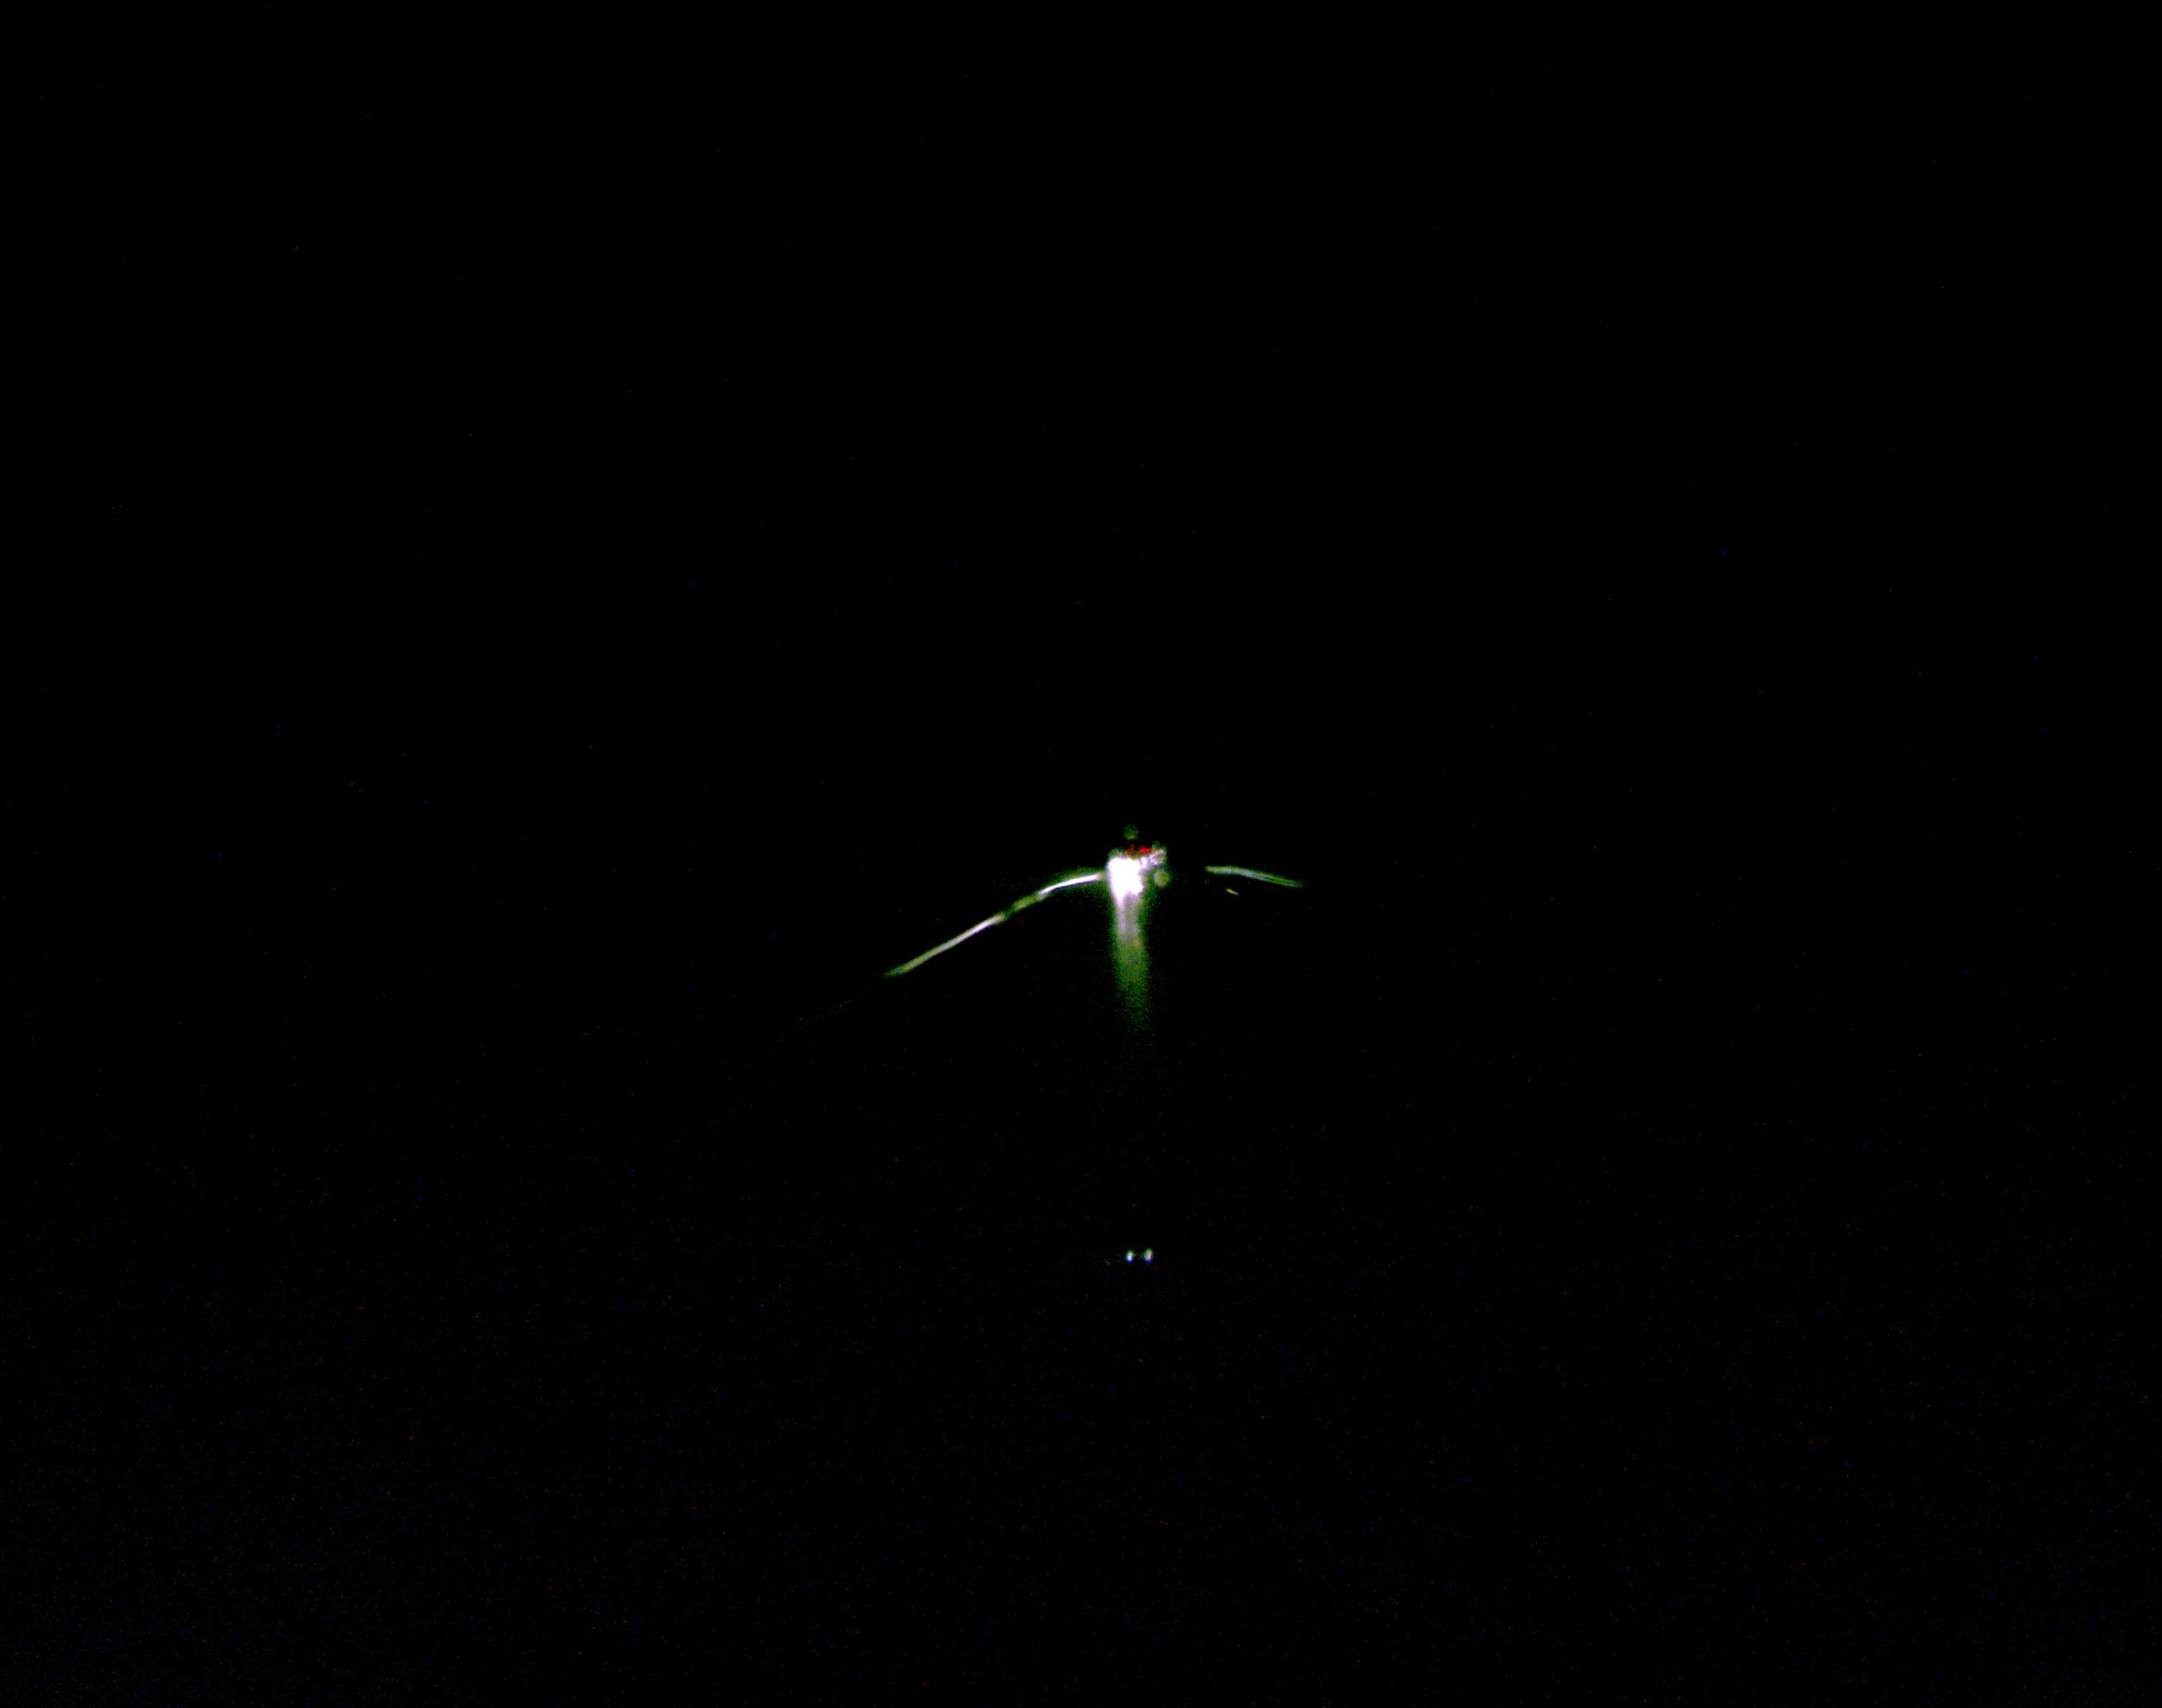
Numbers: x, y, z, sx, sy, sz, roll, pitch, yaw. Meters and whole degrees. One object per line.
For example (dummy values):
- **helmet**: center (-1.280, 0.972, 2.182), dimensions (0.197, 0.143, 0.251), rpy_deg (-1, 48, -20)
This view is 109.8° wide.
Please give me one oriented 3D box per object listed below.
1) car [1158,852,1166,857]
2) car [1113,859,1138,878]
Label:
- **car**: center (21.819, 0.139, 203.686), dimensions (1.921, 1.455, 4.261), rpy_deg (-2, 0, 8)
- **car**: center (3.701, 1.148, 62.443), dimensions (1.775, 1.444, 4.138), rpy_deg (-3, -1, 6)
